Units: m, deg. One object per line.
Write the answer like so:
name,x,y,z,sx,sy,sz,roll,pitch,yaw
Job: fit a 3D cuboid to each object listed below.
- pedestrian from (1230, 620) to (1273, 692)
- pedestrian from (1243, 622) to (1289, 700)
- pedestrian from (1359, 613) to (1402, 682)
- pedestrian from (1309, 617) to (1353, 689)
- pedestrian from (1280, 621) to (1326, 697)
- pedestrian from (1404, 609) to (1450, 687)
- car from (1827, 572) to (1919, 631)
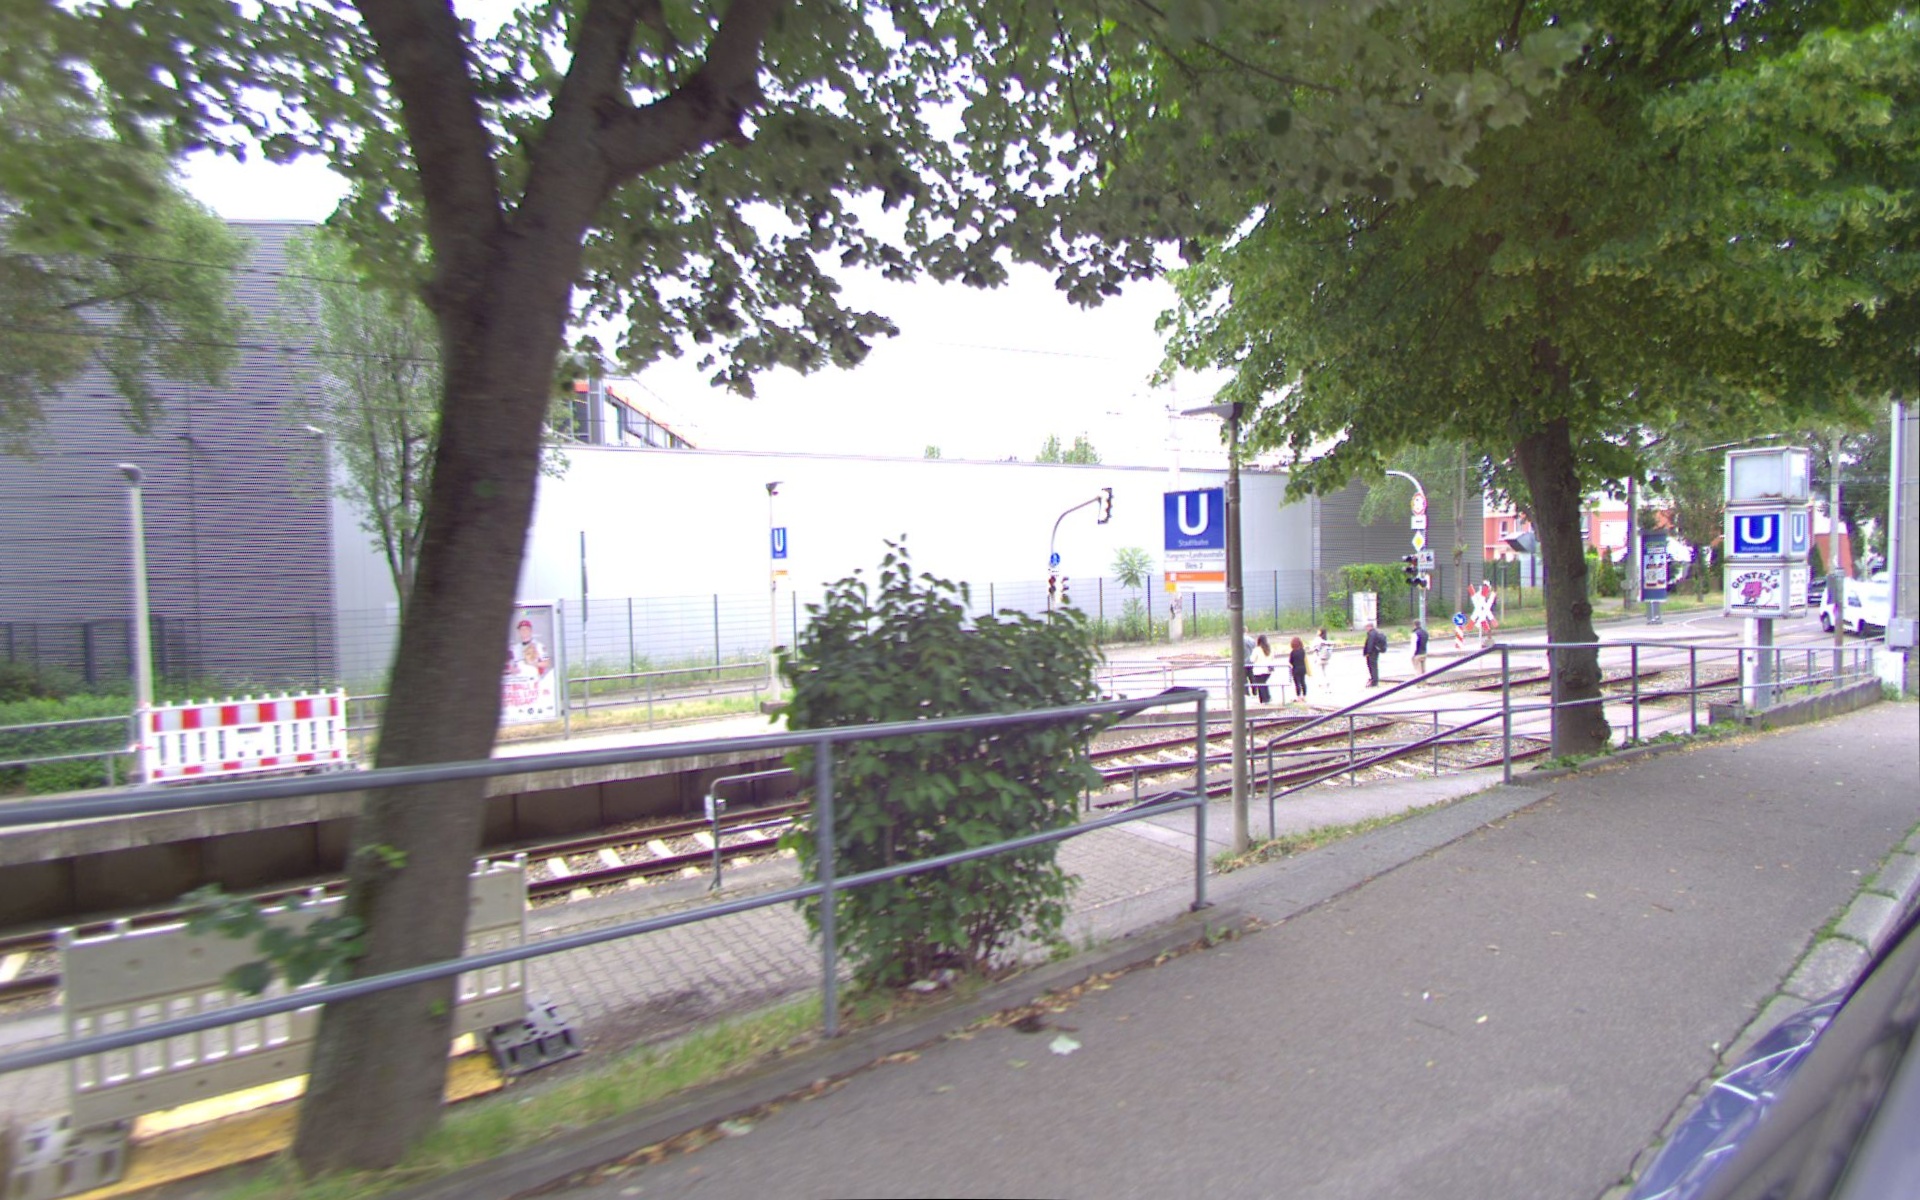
pedestrian,7.140,1.357,24.773,0.669,1.697,0.755,0,0,-29
pedestrian,6.982,1.374,23.092,0.669,1.697,0.755,0,0,-29
pedestrian,10.682,1.192,25.699,0.669,1.697,0.755,0,0,-29
pedestrian,9.156,1.290,24.995,0.669,1.697,0.755,0,0,-29
pedestrian,7.993,1.349,23.582,0.669,1.697,0.755,0,0,-29
pedestrian,11.307,1.135,24.508,0.669,1.827,0.755,0,0,-29
car,32.289,0.034,35.252,1.790,1.945,4.446,0,0,22
